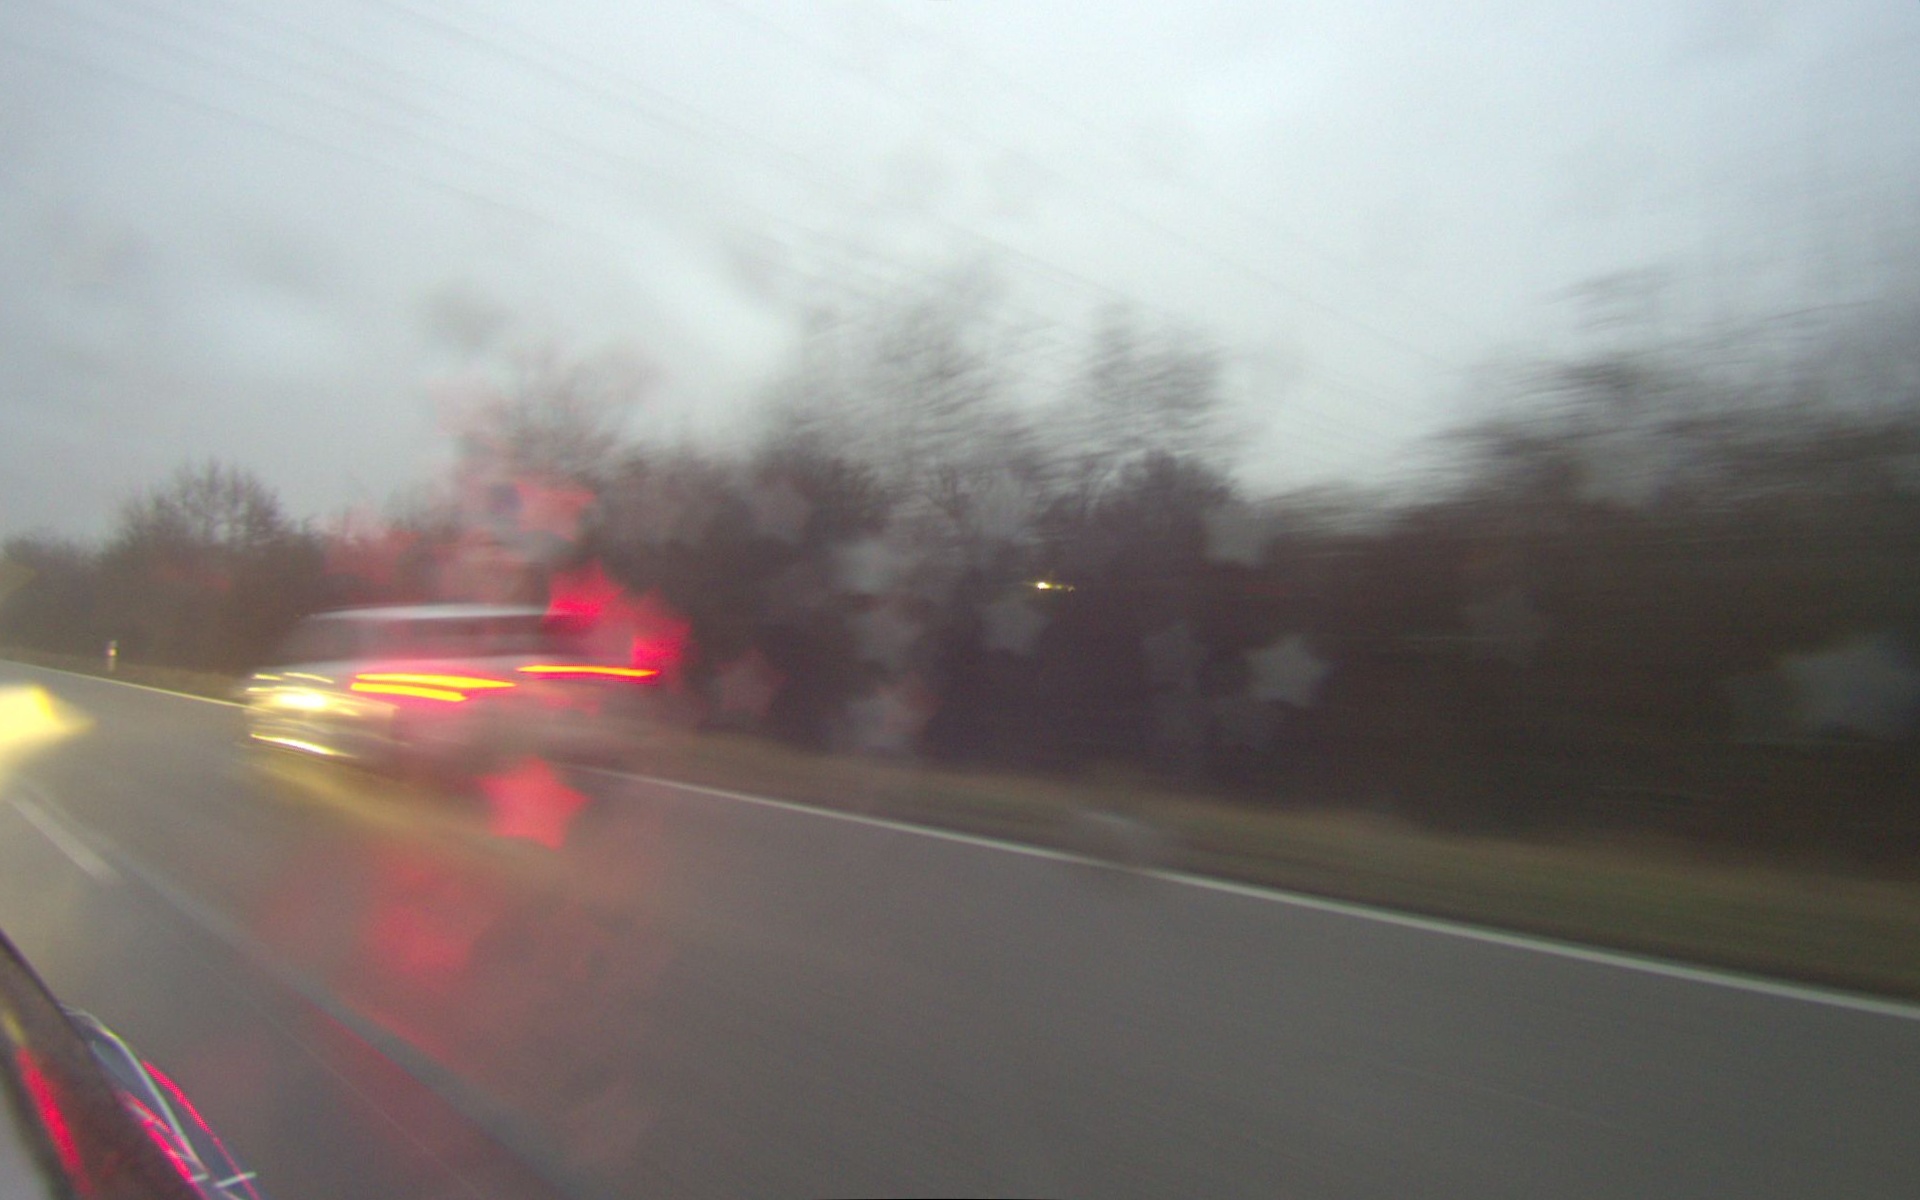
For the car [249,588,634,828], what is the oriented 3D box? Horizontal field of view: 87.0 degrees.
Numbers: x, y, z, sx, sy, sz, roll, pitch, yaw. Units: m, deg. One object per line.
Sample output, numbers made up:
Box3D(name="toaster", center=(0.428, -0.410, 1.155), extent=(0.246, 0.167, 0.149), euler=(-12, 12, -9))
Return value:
Box3D(name="car", center=(-4.684, 0.780, 8.887), extent=(3.974, 1.643, 1.655), euler=(-2, -1, 41))
